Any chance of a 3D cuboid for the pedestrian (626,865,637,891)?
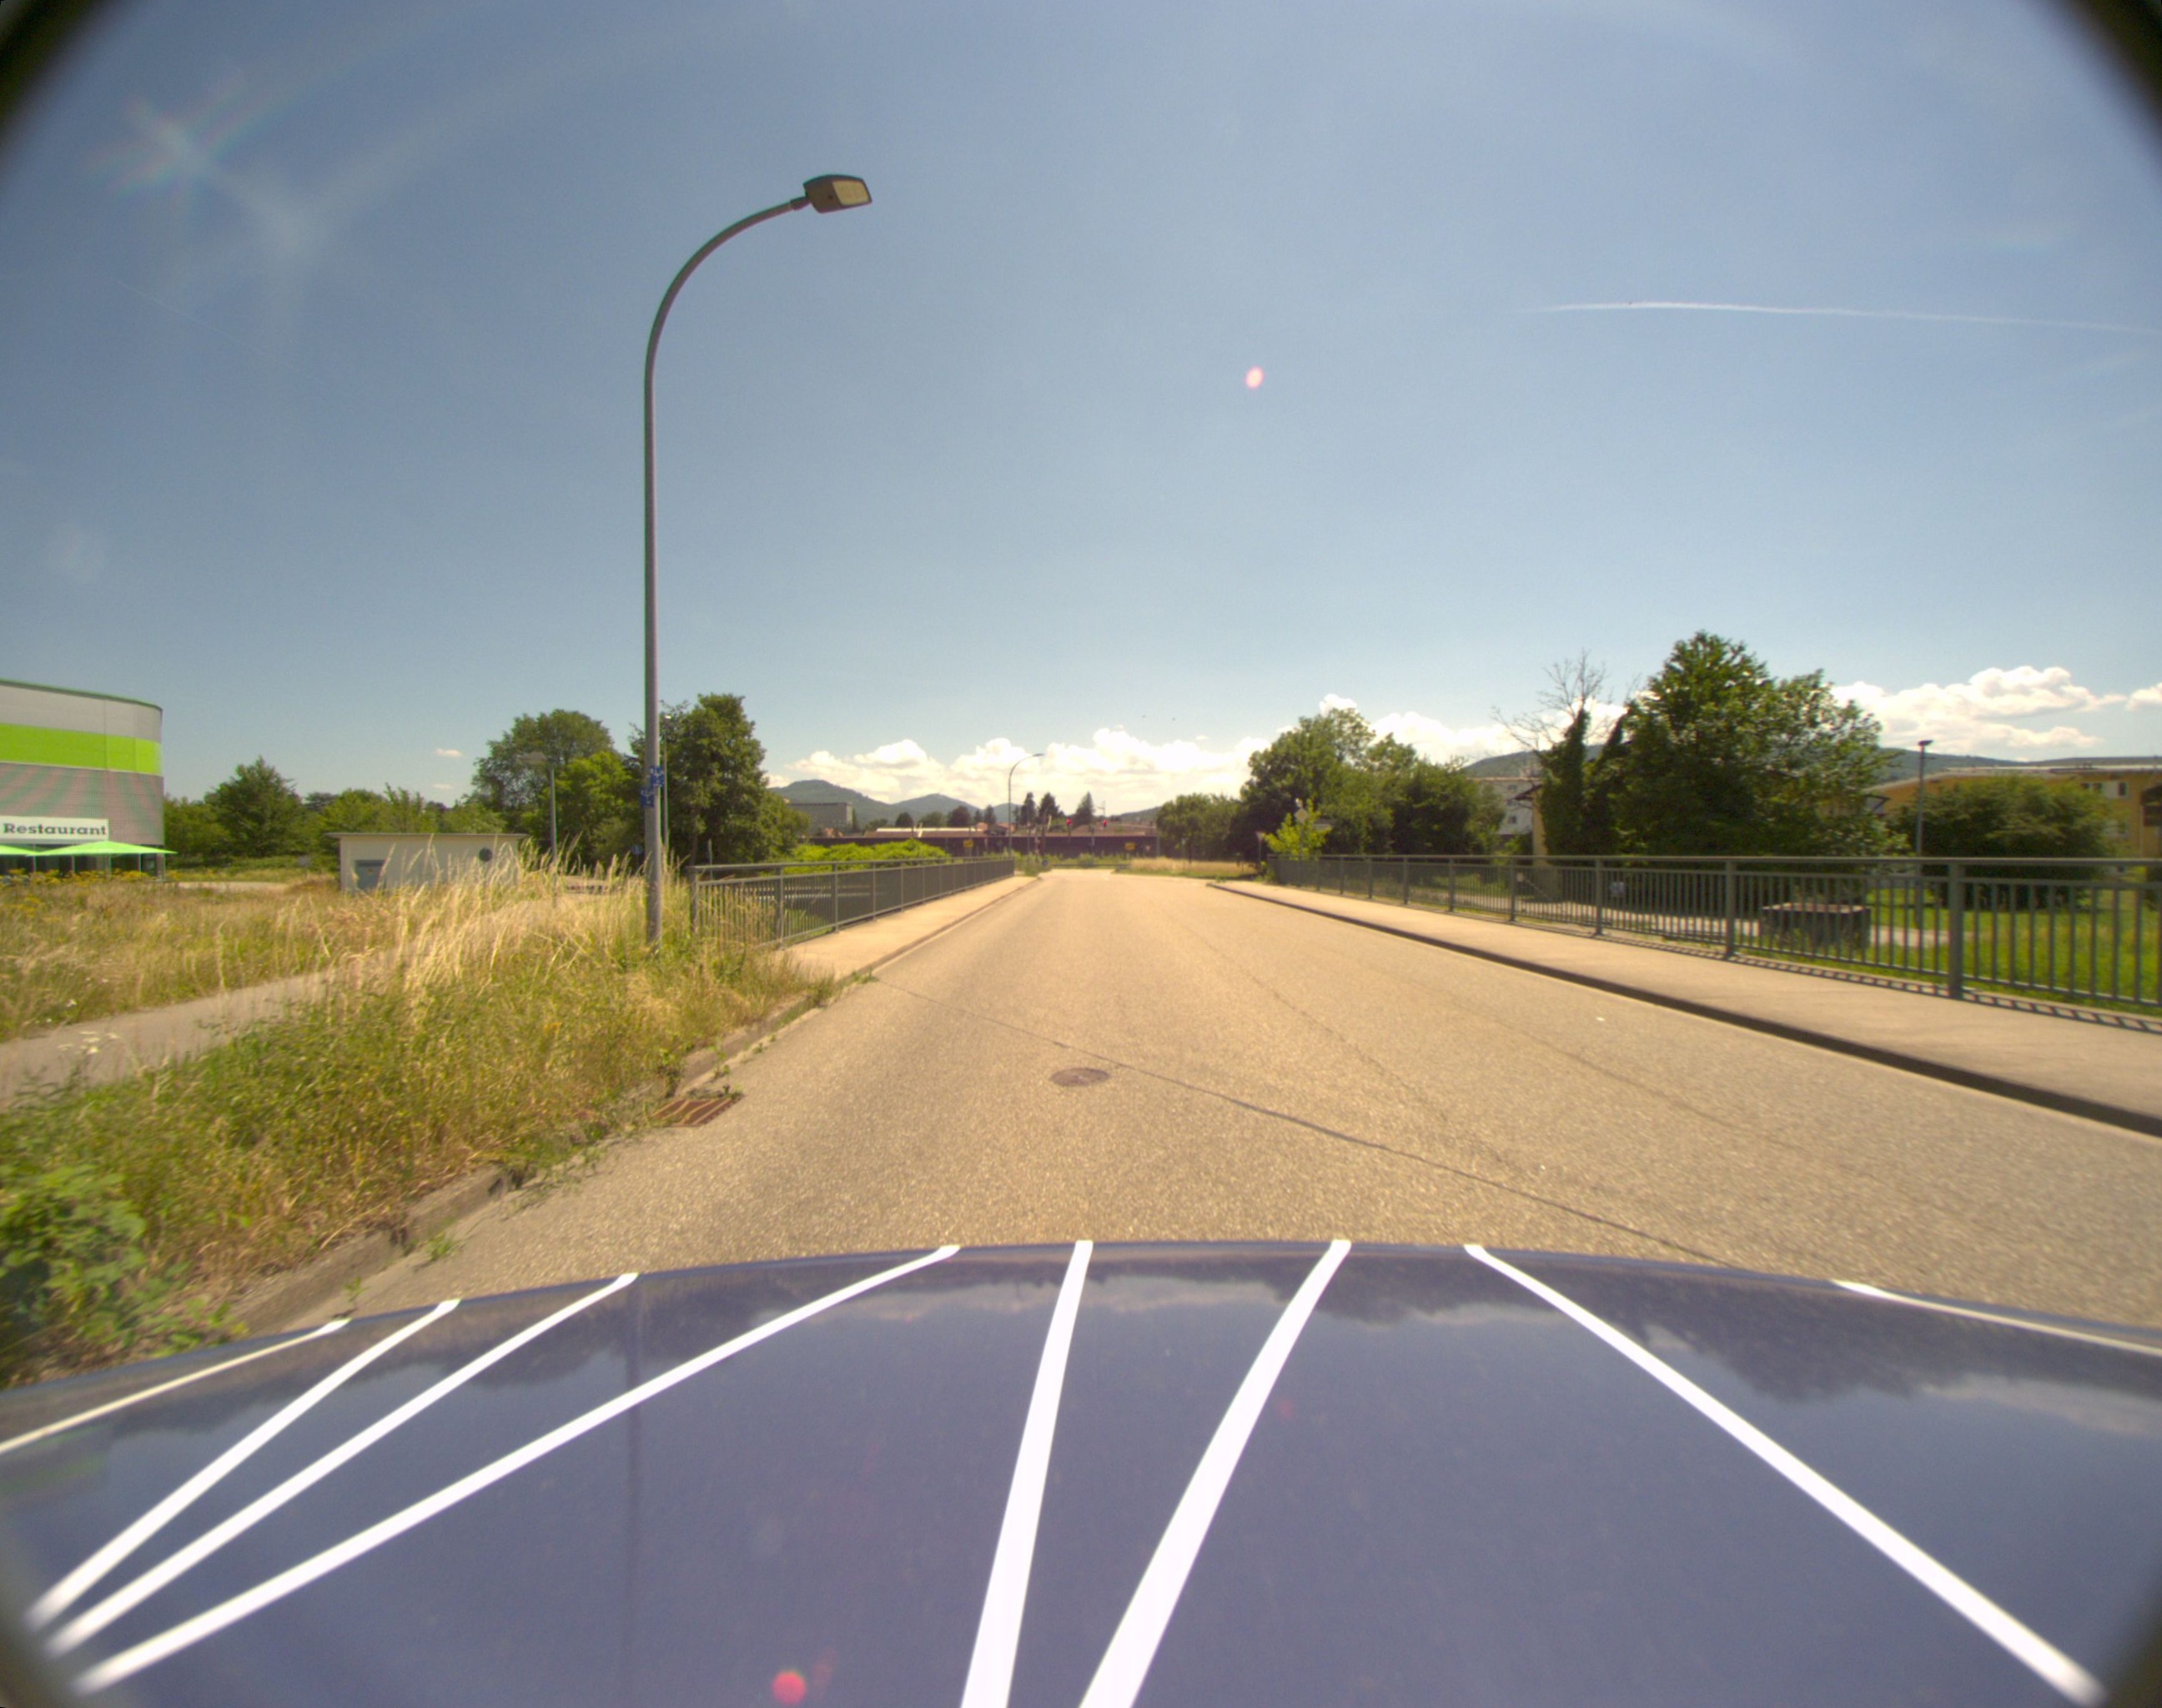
[{"bbox_3d":[-26.783,1.407,45.249,0.439,1.529,0.413,-3,0,-23],"label":"pedestrian"}]
